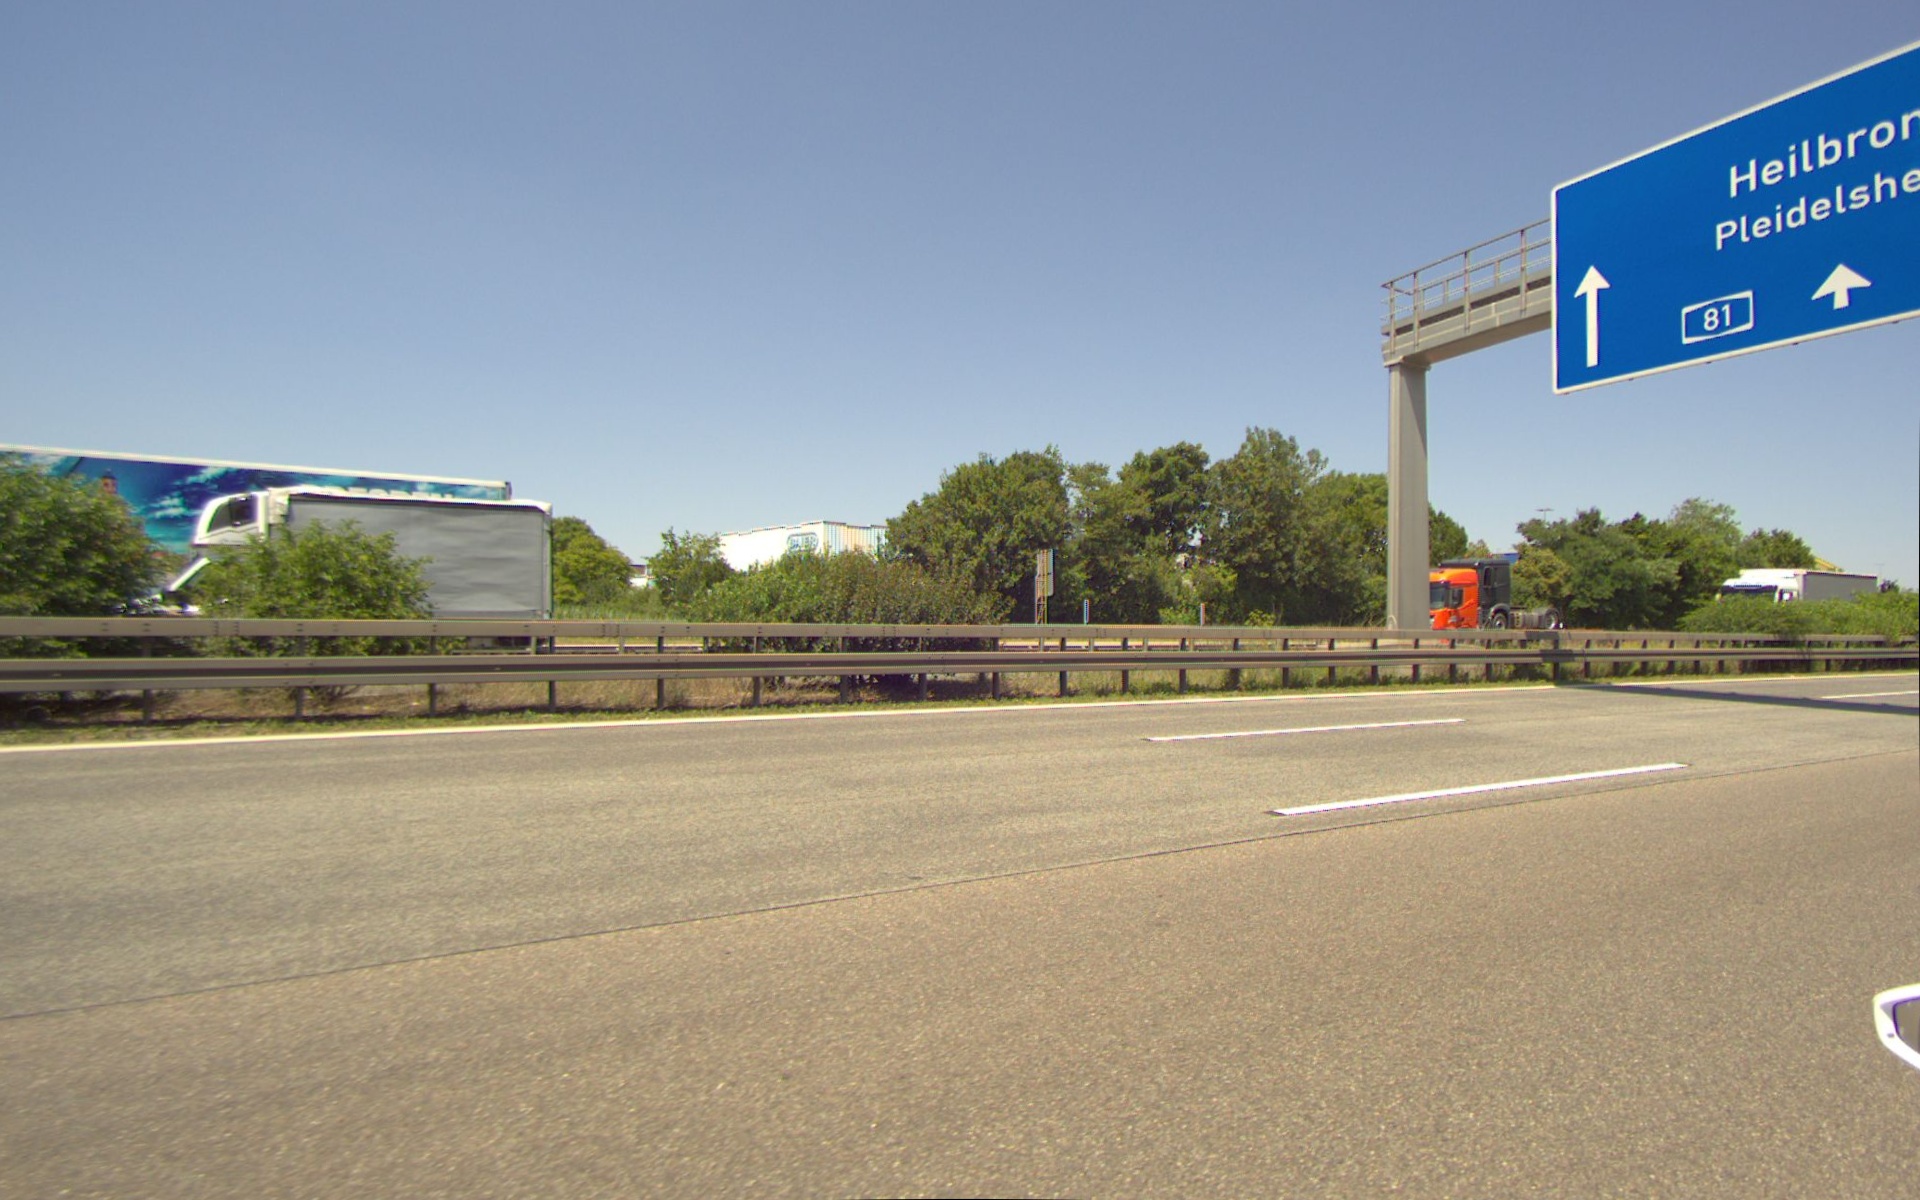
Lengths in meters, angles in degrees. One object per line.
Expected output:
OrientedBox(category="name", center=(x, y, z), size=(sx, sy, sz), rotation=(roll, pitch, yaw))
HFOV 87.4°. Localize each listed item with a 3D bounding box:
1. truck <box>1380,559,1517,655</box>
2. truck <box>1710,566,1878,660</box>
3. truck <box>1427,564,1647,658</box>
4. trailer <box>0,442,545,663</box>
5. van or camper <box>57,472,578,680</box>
OrientedBox(category="truck", center=(20.571, 0.326, 42.291), size=(5.040, 3.844, 2.741), rotation=(1, 0, -29))
OrientedBox(category="truck", center=(40.809, 0.684, 49.009), size=(10.276, 4.264, 2.741), rotation=(1, 0, -29))
OrientedBox(category="truck", center=(26.324, 0.580, 45.508), size=(12.179, 3.844, 2.741), rotation=(1, 0, -29))
OrientedBox(category="trailer", center=(-15.858, -0.808, 20.046), size=(13.839, 3.975, 1.984), rotation=(1, 0, -31))
OrientedBox(category="van or camper", center=(-11.469, -0.304, 18.850), size=(7.731, 3.263, 2.462), rotation=(1, 0, -31))
